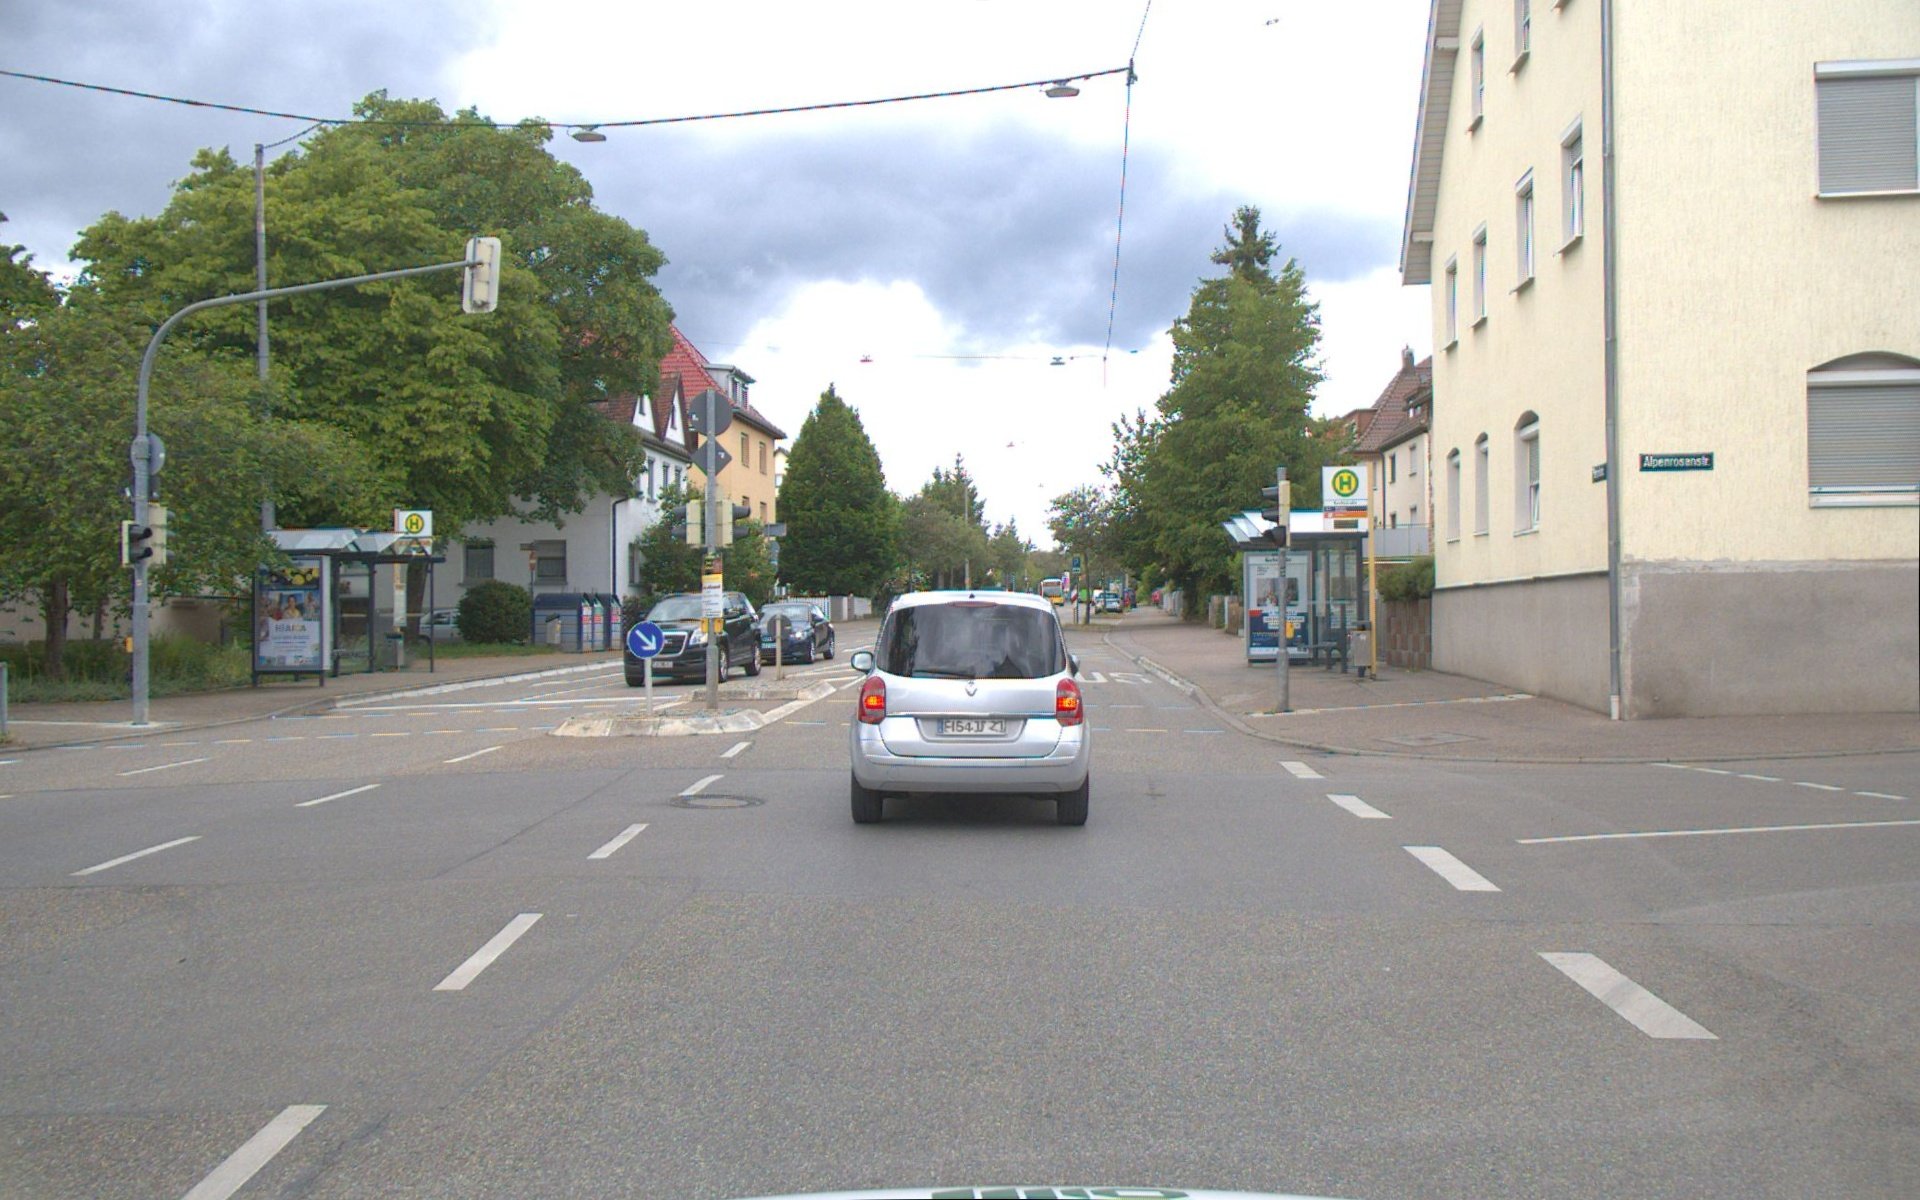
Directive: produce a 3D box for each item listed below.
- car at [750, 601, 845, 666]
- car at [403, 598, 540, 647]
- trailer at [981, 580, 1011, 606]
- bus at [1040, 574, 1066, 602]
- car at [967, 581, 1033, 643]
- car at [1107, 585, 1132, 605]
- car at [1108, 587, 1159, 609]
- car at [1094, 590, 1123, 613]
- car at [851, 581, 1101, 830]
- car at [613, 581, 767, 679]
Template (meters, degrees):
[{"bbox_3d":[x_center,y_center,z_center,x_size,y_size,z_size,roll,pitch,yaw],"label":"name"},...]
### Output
[{"bbox_3d":[-3.859,0.790,39.846,1.531,1.445,4.133,-1,-1,5],"label":"car"},{"bbox_3d":[-15.932,0.728,54.045,3.903,1.355,1.723,-3,-1,4],"label":"car"},{"bbox_3d":[3.161,-0.597,143.571,2.263,2.123,5.876,0,-1,5],"label":"trailer"},{"bbox_3d":[11.163,-1.410,197.940,2.576,3.140,12.077,-2,0,5],"label":"bus"},{"bbox_3d":[1.130,0.339,48.096,1.792,1.705,3.574,-1,0,0],"label":"car"},{"bbox_3d":[11.757,-0.350,121.872,1.627,1.417,3.671,-1,0,8],"label":"car"},{"bbox_3d":[14.102,-0.147,134.542,3.908,1.522,1.809,-4,0,-2],"label":"car"},{"bbox_3d":[9.237,0.109,102.653,1.615,1.406,4.003,0,-1,7],"label":"car"},{"bbox_3d":[0.054,0.701,12.641,1.597,1.584,3.998,1,-1,-2],"label":"car"},{"bbox_3d":[-5.066,0.570,31.657,1.721,1.663,4.597,-3,-1,5],"label":"car"}]
